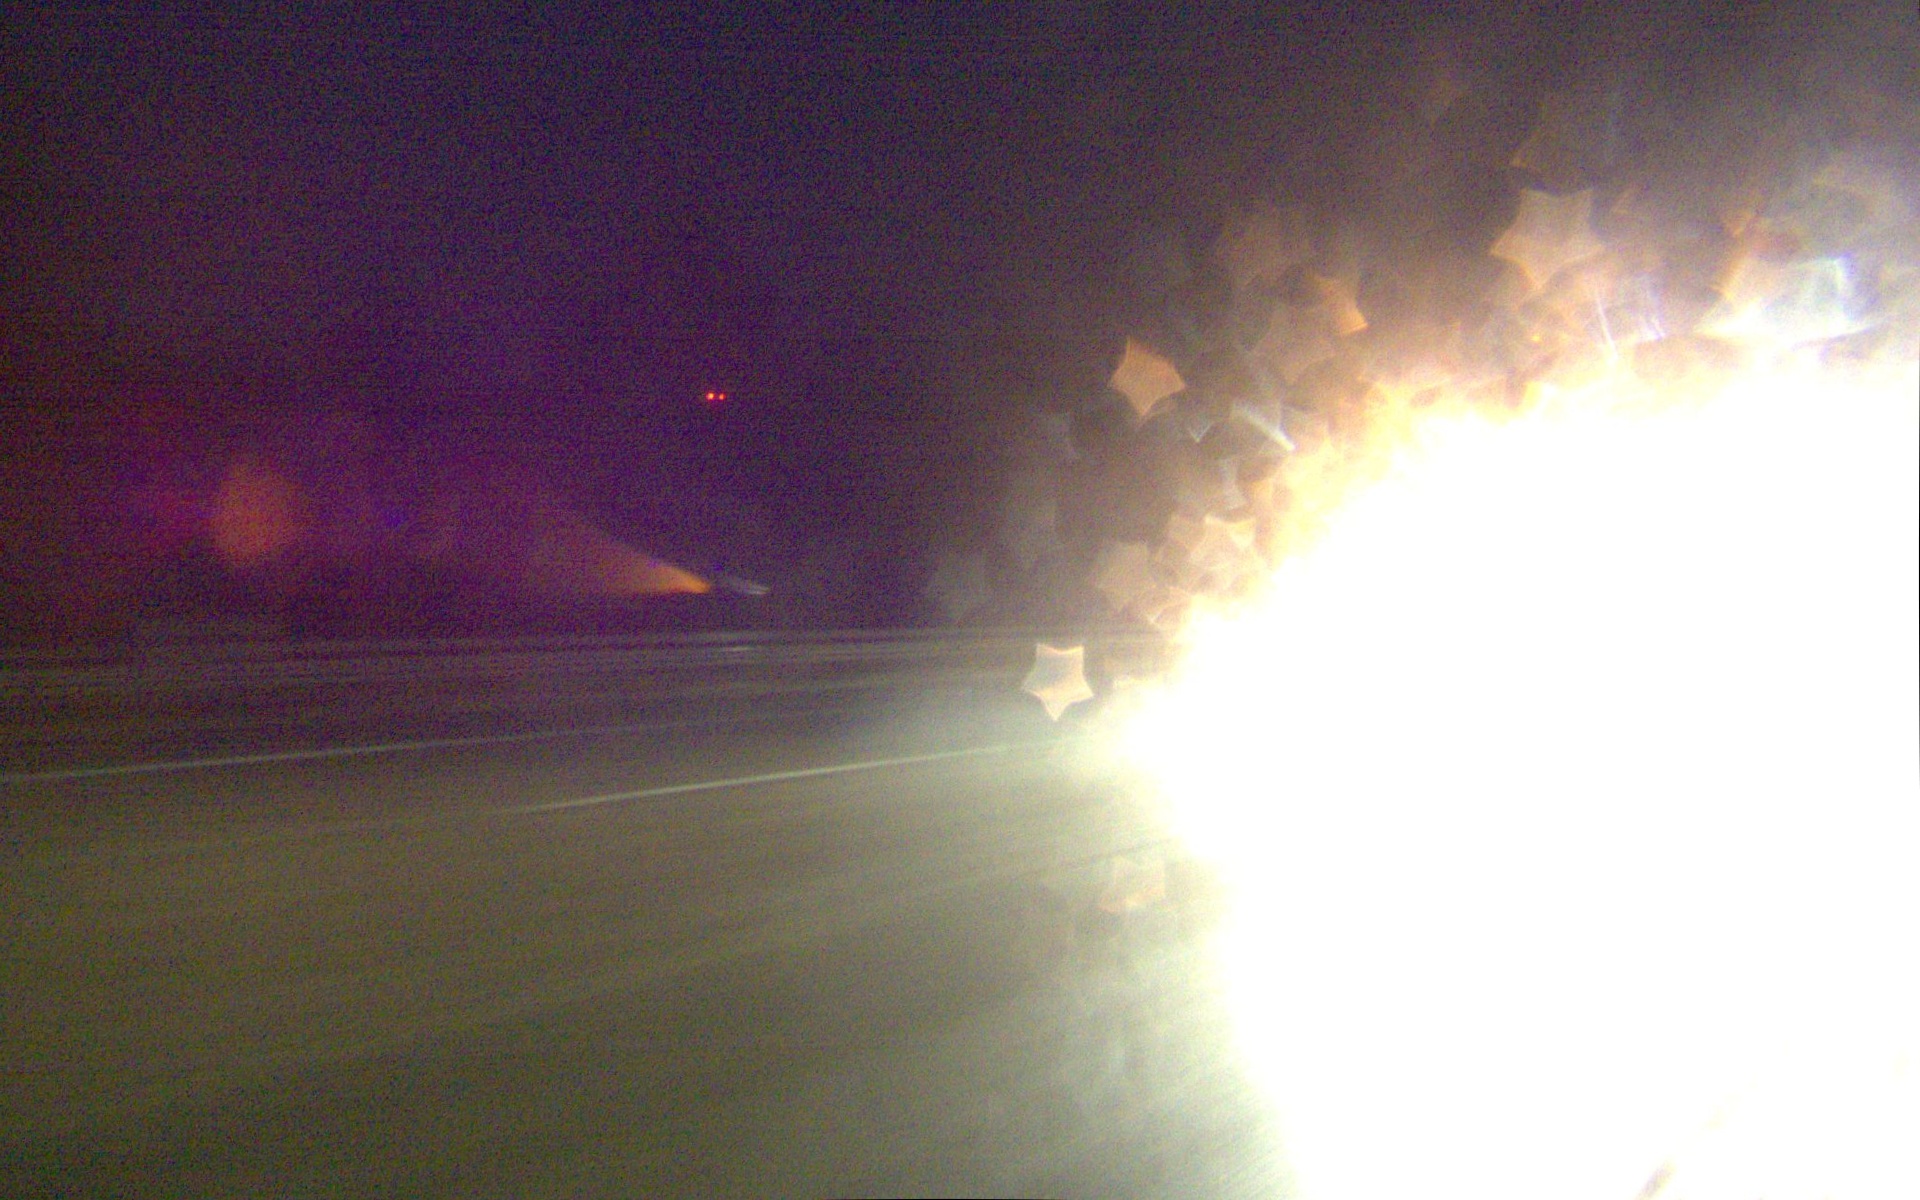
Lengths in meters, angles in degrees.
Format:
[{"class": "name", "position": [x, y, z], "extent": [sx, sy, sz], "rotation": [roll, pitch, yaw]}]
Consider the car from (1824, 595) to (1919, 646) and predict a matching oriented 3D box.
[{"class": "car", "position": [28.617, 0.621, 31.264], "extent": [4.254, 1.467, 1.999], "rotation": [1, -1, -36]}]

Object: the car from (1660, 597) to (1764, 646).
[{"class": "car", "position": [24.681, 0.687, 33.171], "extent": [3.969, 1.516, 1.724], "rotation": [1, -1, -37]}]

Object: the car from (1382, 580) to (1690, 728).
[{"class": "car", "position": [7.539, 0.545, 12.999], "extent": [4.930, 1.538, 2.060], "rotation": [0, 1, -43]}]
